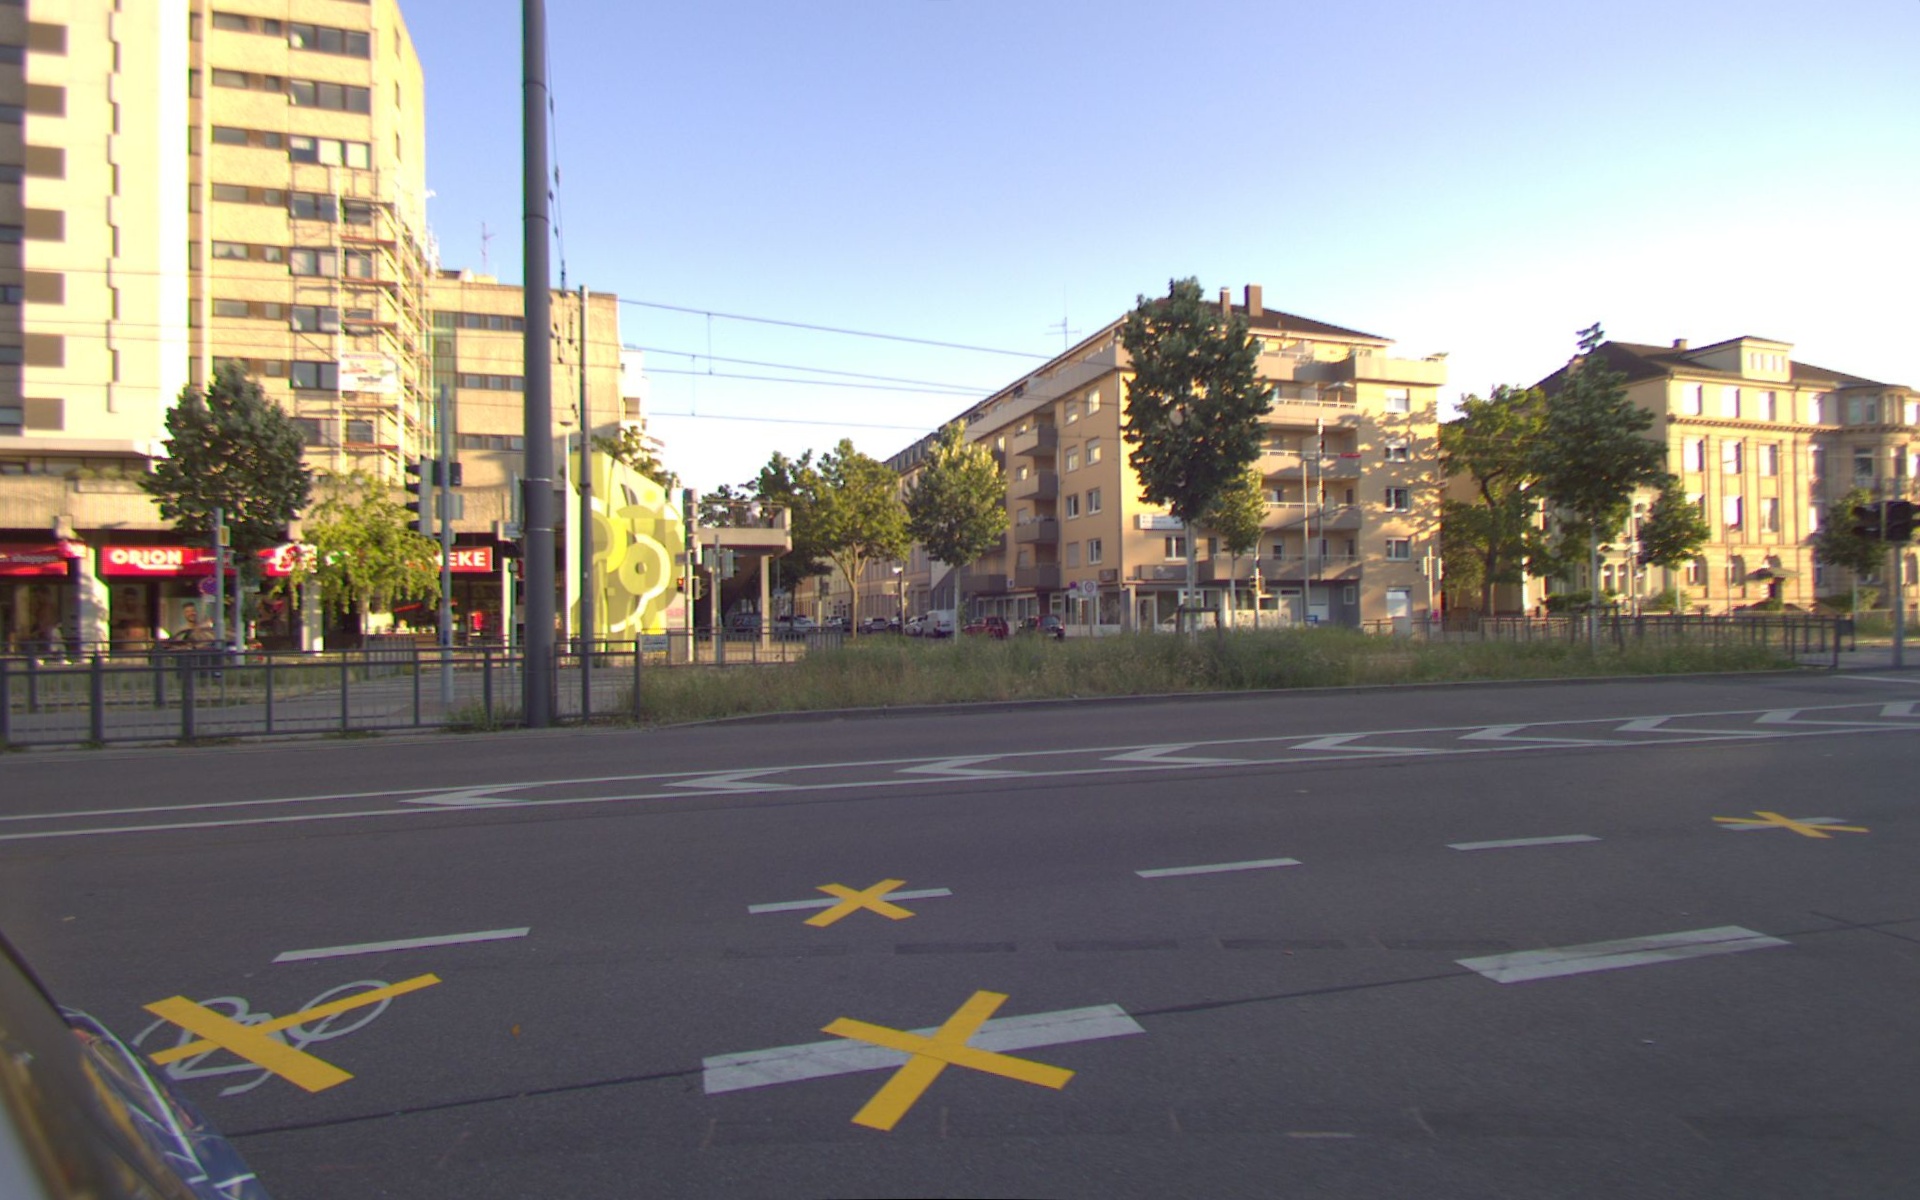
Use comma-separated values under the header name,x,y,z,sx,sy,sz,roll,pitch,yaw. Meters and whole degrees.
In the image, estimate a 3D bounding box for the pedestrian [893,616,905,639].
name,x,y,z,sx,sy,sz,roll,pitch,yaw
pedestrian,-5.388,2.455,89.748,0.877,2.029,0.773,0,-1,-19

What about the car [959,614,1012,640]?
name,x,y,z,sx,sy,sz,roll,pitch,yaw
car,1.508,1.658,62.329,1.965,1.497,4.013,-1,-1,-19

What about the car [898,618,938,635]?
name,x,y,z,sx,sy,sz,roll,pitch,yaw
car,-3.194,1.971,76.112,1.965,1.253,4.013,-1,-1,-19

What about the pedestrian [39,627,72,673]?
name,x,y,z,sx,sy,sz,roll,pitch,yaw
pedestrian,-32.383,1.773,36.255,0.713,1.626,0.658,0,-1,-23

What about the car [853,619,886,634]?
name,x,y,z,sx,sy,sz,roll,pitch,yaw
car,-7.973,2.340,89.334,1.965,1.253,4.013,-1,-1,-19

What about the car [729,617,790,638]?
name,x,y,z,sx,sy,sz,roll,pitch,yaw
car,-16.117,2.186,81.255,4.565,1.572,2.006,-1,-1,-18

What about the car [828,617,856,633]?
name,x,y,z,sx,sy,sz,roll,pitch,yaw
car,-11.625,2.441,99.569,1.965,1.541,4.013,-1,-1,-19

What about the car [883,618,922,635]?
name,x,y,z,sx,sy,sz,roll,pitch,yaw
car,-4.586,2.099,80.217,1.965,1.253,4.013,-1,-1,-19

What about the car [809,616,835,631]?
name,x,y,z,sx,sy,sz,roll,pitch,yaw
car,-14.631,2.479,107.006,1.965,1.541,4.013,-1,-1,-19

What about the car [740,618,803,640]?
name,x,y,z,sx,sy,sz,roll,pitch,yaw
car,-14.451,2.189,77.519,4.565,1.572,2.006,-1,-1,-18

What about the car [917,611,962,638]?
name,x,y,z,sx,sy,sz,roll,pitch,yaw
car,-1.442,1.695,70.321,1.965,1.763,4.013,-1,-1,-19

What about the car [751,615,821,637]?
name,x,y,z,sx,sy,sz,roll,pitch,yaw
car,-12.093,1.764,70.238,4.565,1.409,2.006,-1,-1,-18

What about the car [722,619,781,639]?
name,x,y,z,sx,sy,sz,roll,pitch,yaw
car,-17.330,2.385,84.114,4.565,1.572,2.006,-1,-1,-18

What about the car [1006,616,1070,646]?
name,x,y,z,sx,sy,sz,roll,pitch,yaw
car,4.138,1.625,54.369,1.965,1.497,4.013,-1,-1,-19

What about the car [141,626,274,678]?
name,x,y,z,sx,sy,sz,roll,pitch,yaw
car,-24.575,1.656,33.017,4.327,1.573,1.942,-1,-1,30

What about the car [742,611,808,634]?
name,x,y,z,sx,sy,sz,roll,pitch,yaw
car,-13.740,1.680,75.247,4.565,1.572,2.006,-1,-1,-18
